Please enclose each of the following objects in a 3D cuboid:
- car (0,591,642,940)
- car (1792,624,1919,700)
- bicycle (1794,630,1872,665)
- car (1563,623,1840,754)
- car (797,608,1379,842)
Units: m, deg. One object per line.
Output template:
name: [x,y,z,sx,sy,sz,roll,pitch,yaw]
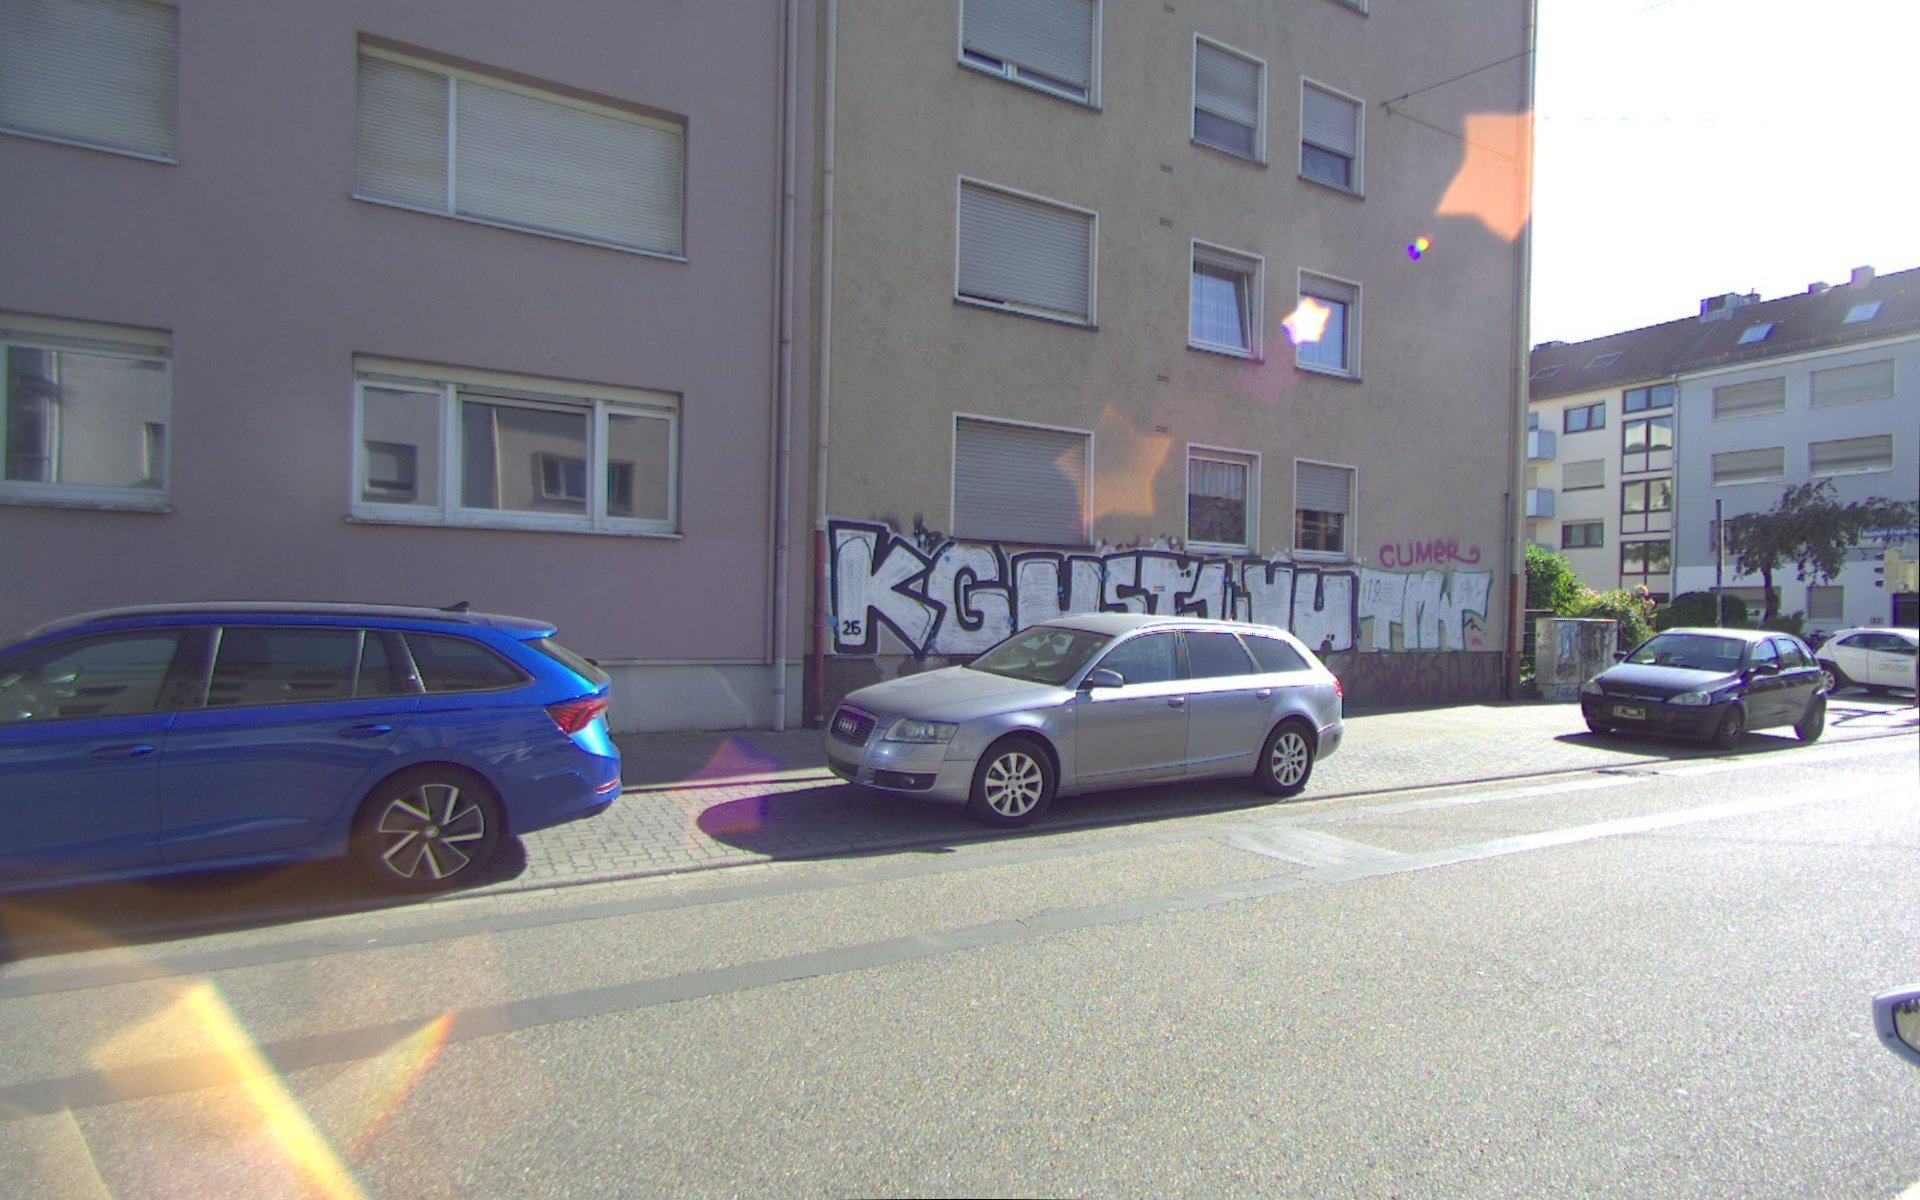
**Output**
car: [-4.219,0.731,5.349,4.558,1.485,1.709,1,1,-30]
car: [20.966,1.343,22.152,1.740,1.557,3.777,1,-1,-12]
bicycle: [31.424,1.691,36.206,2.068,1.188,0.737,0,-1,38]
car: [9.922,1.092,13.400,3.666,1.444,1.608,1,2,-30]
car: [1.195,0.849,8.363,4.758,1.485,1.709,1,0,-30]
